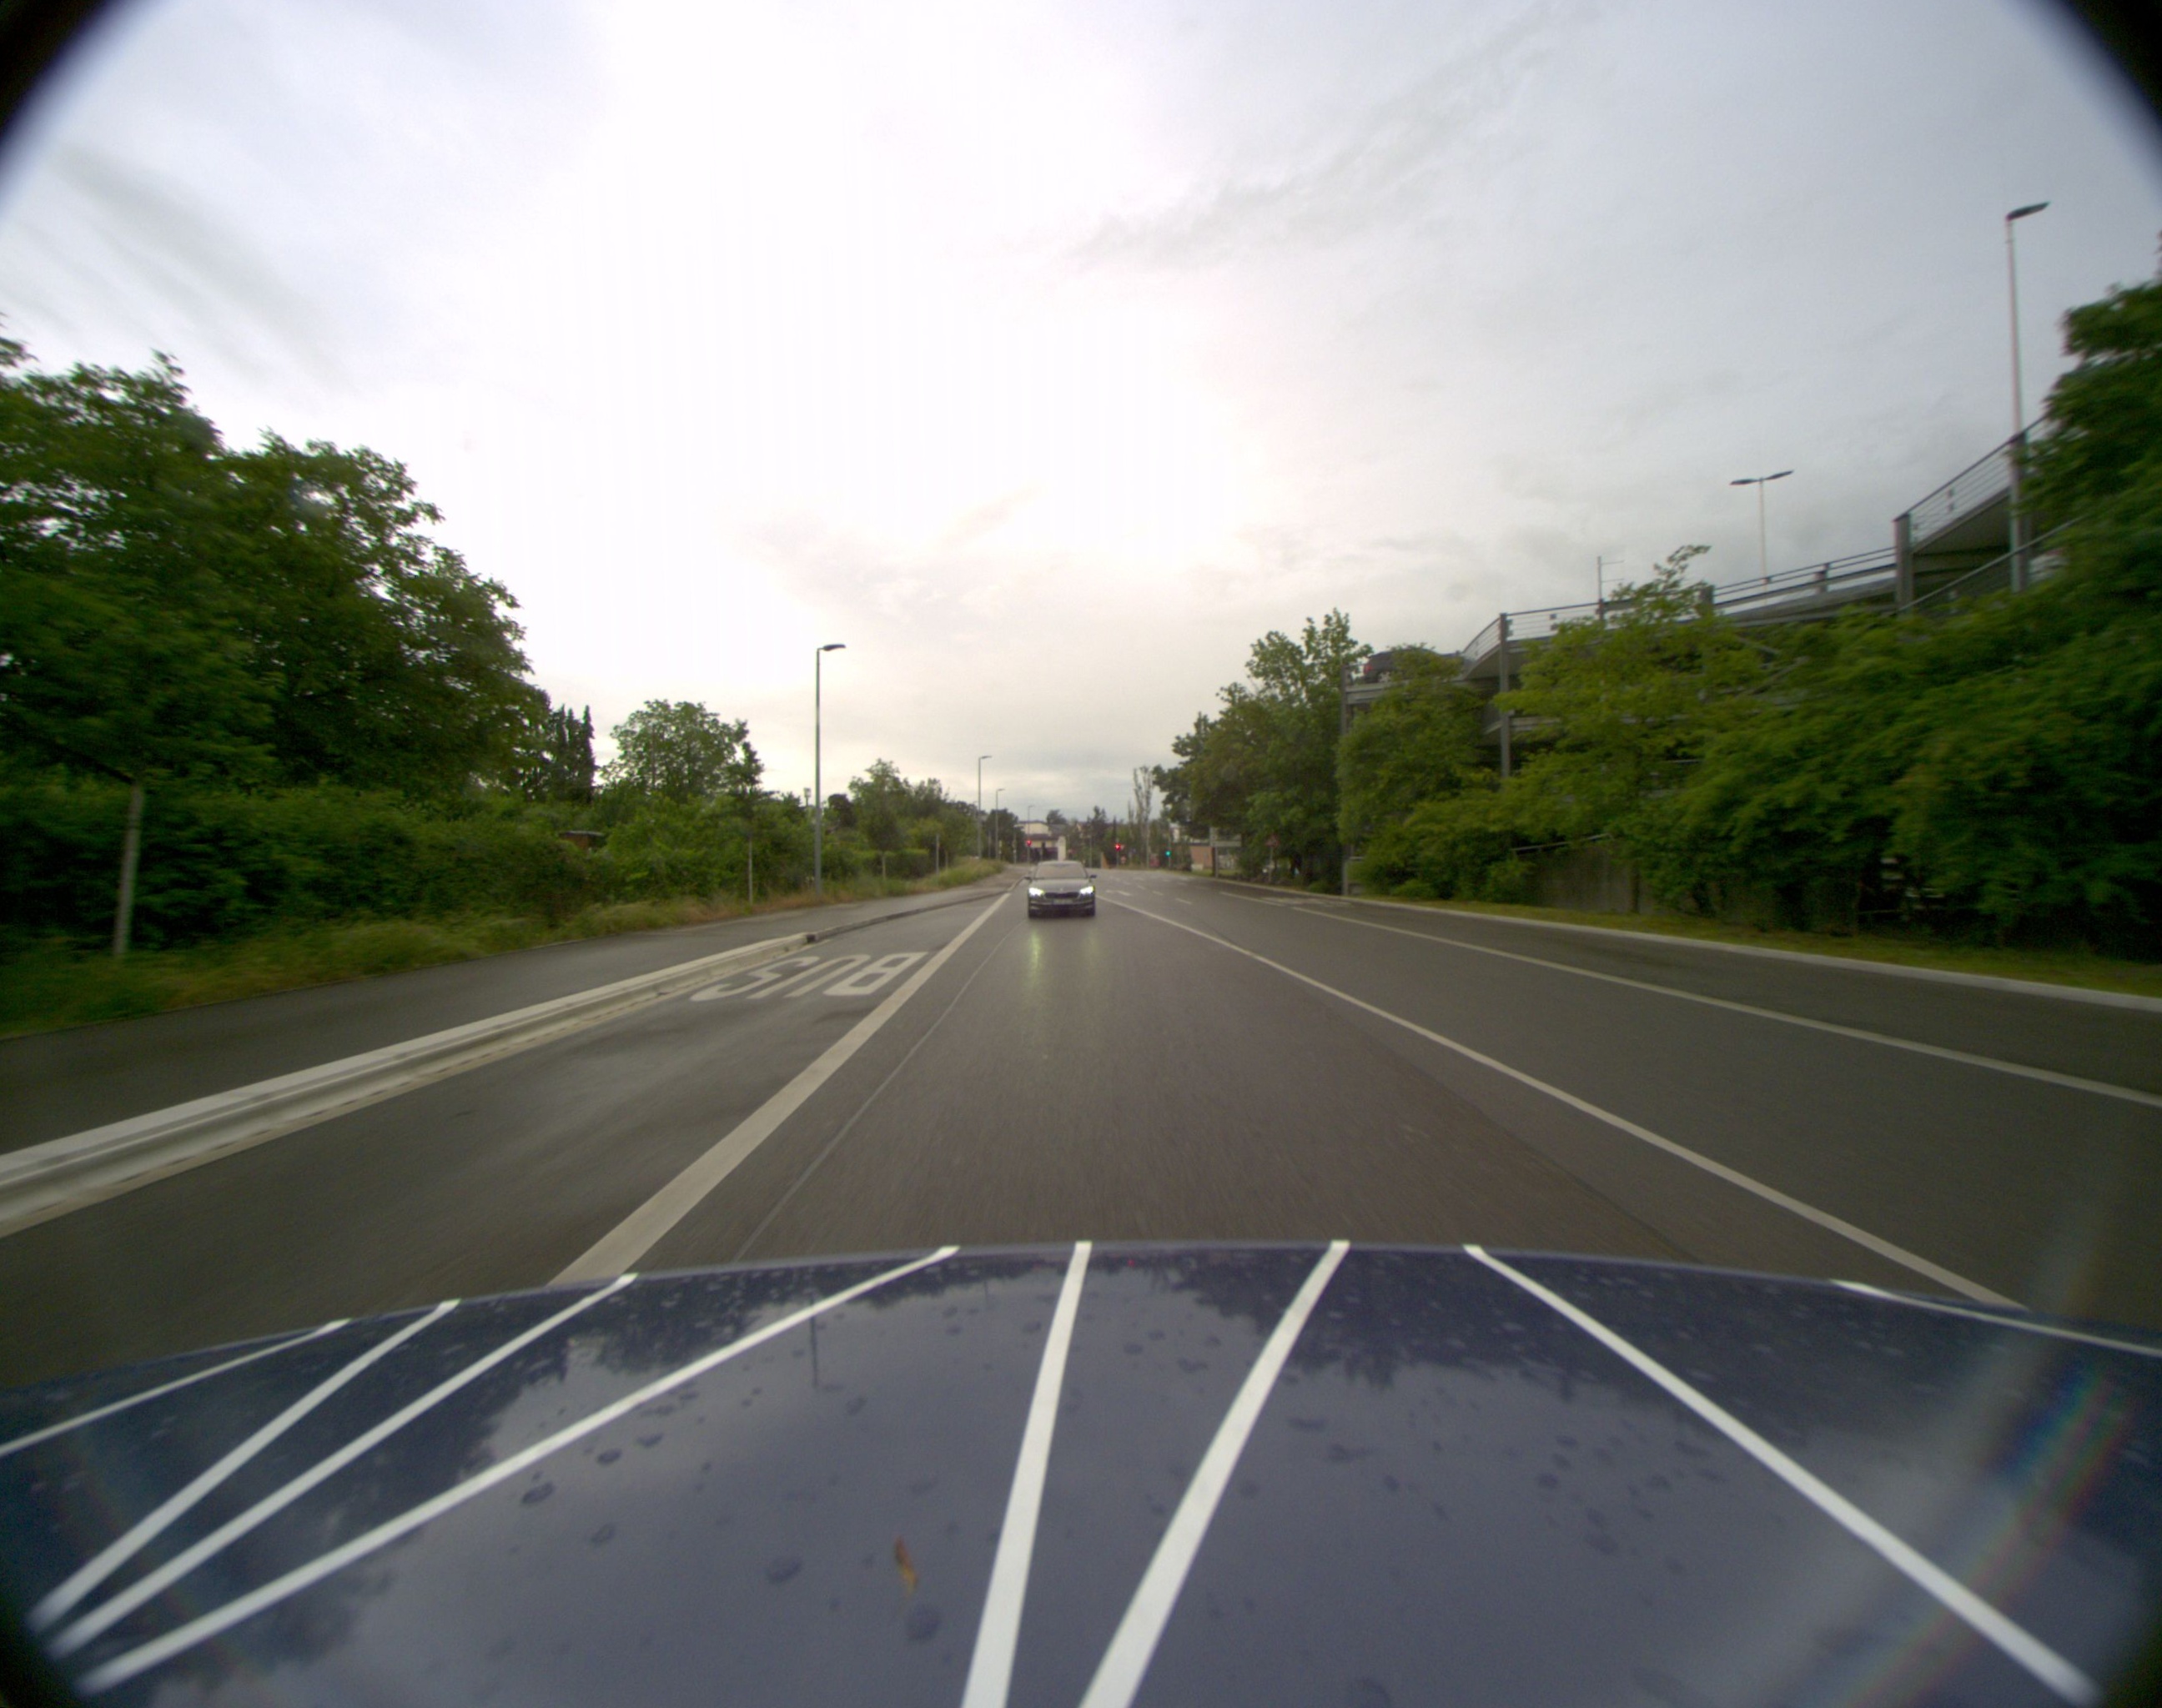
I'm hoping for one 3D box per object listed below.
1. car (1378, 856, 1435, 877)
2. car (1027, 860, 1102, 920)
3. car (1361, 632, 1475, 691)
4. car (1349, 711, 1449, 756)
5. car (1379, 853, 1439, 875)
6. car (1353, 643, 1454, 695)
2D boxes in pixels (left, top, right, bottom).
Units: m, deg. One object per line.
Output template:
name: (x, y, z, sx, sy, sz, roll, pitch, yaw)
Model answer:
car: (25.491, 0.947, 59.537, 3.989, 1.510, 2.004, 1, 0, 25)
car: (-0.383, 0.932, 21.209, 1.839, 1.448, 4.202, -2, 0, 1)
car: (13.369, -7.586, 30.201, 3.989, 1.510, 2.004, 1, 0, 26)
car: (14.215, -5.315, 33.954, 3.989, 1.510, 2.004, 1, 0, 26)
car: (24.494, 0.746, 56.790, 3.989, 1.510, 2.004, 1, 0, 26)
car: (14.380, -8.174, 33.854, 3.989, 1.510, 2.004, 1, 0, 26)
